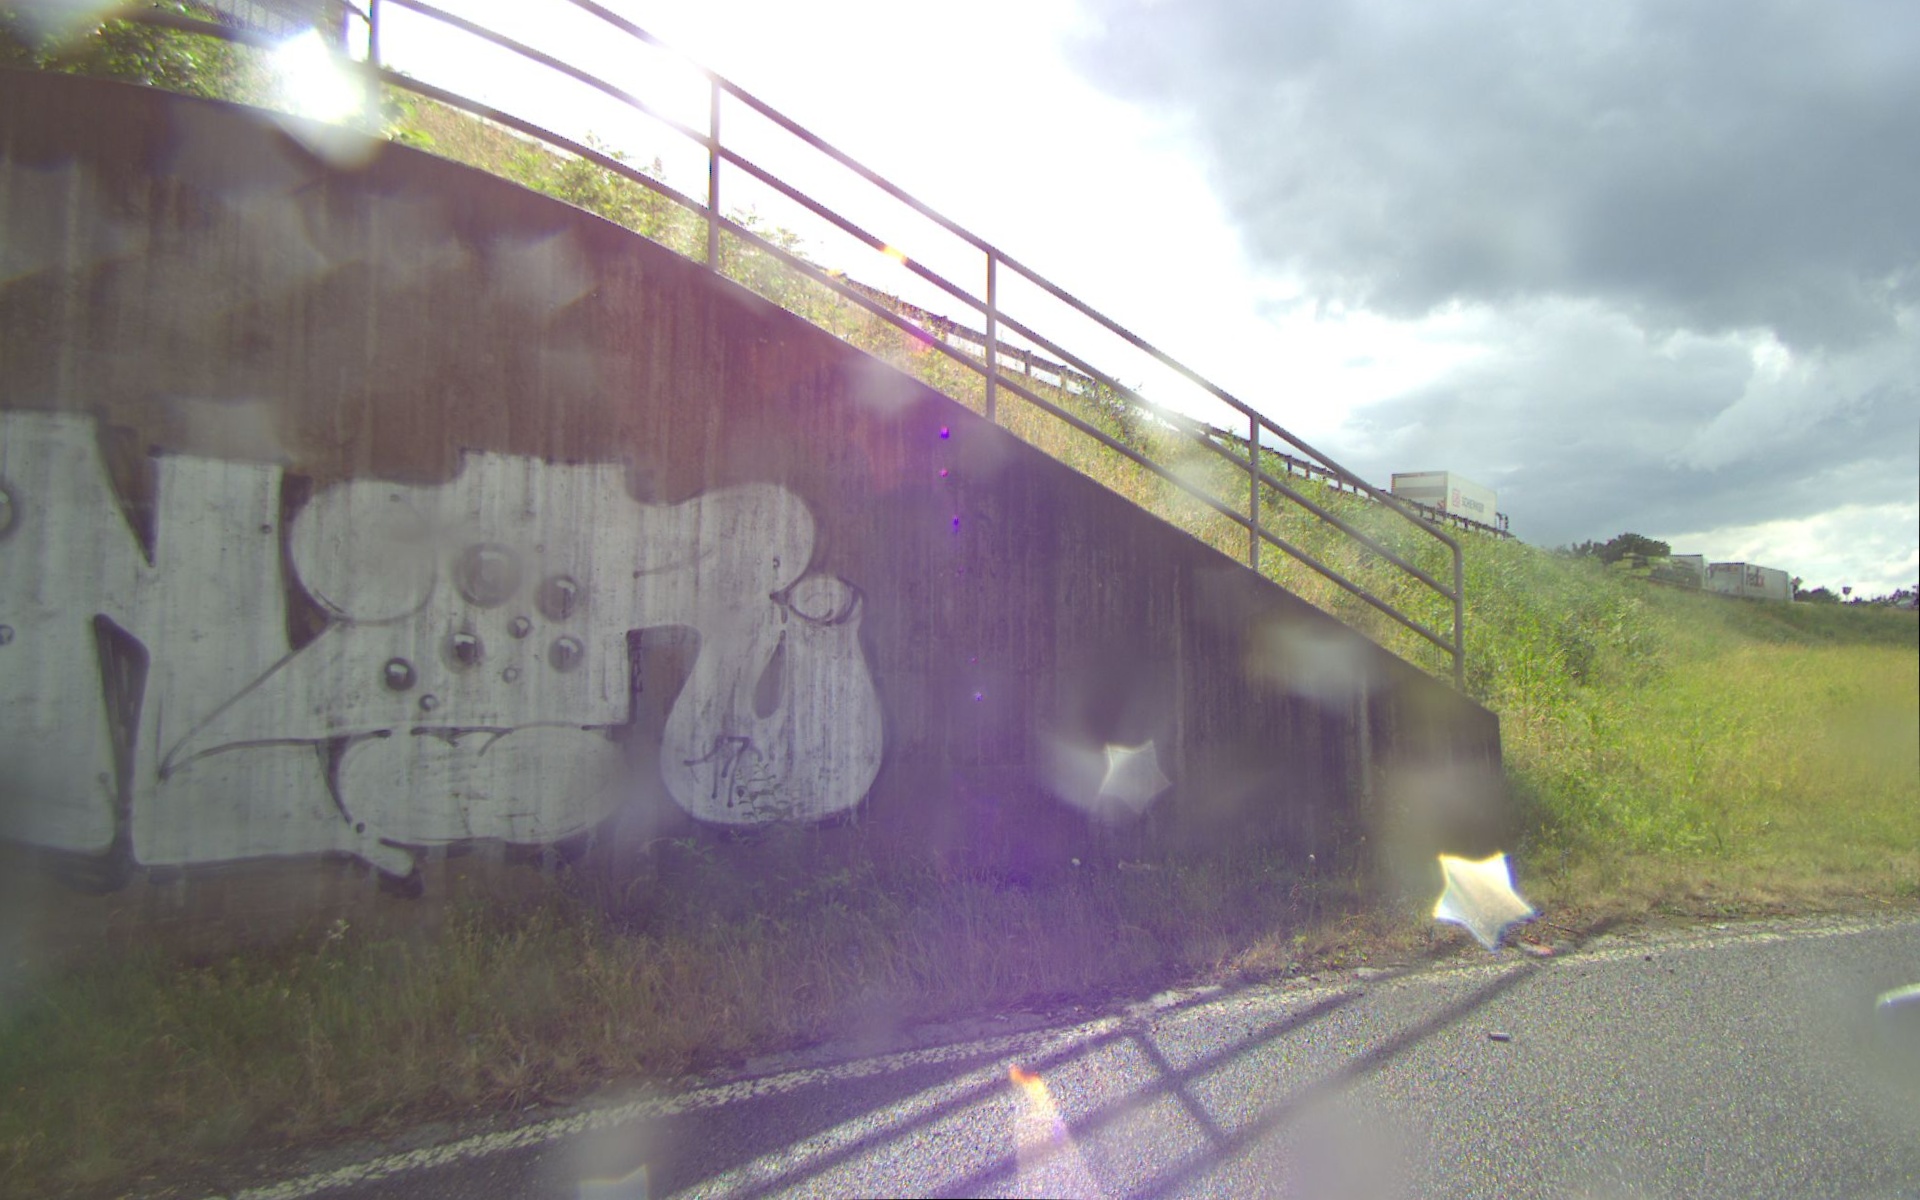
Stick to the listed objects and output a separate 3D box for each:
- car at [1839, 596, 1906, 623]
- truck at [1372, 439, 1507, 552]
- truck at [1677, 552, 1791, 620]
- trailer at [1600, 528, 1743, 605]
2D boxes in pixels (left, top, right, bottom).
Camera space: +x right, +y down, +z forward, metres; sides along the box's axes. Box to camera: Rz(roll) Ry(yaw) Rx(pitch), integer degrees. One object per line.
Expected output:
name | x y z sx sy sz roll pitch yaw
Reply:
car | 74.111 0.778 81.602 3.946 2.040 1.816 0 -4 45
truck | 23.476 -4.829 48.849 3.147 4.017 9.183 0 -4 44
truck | 70.036 -1.022 90.539 19.230 4.561 4.422 5 -3 -41
trailer | 55.442 -2.293 77.784 20.066 4.007 4.375 5 -3 -41
